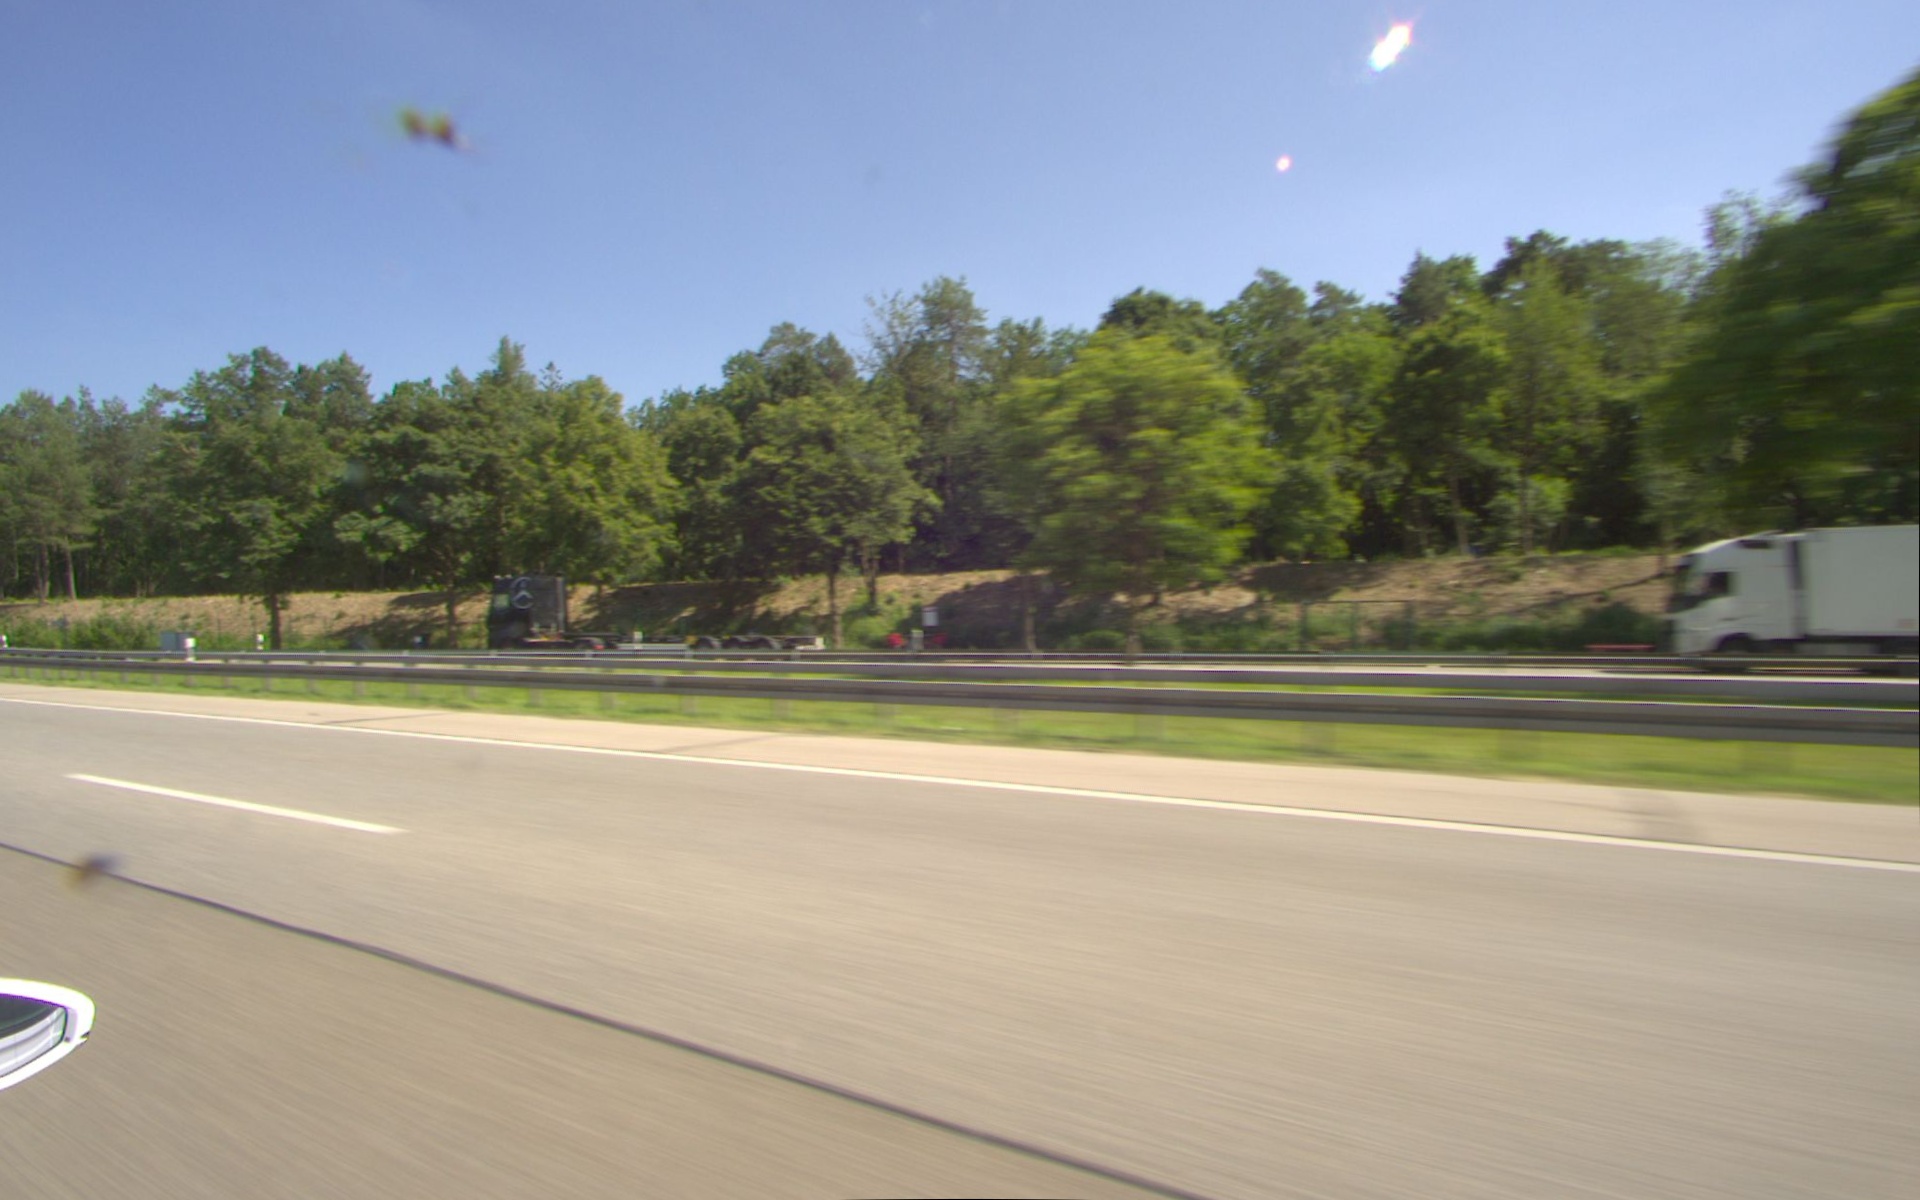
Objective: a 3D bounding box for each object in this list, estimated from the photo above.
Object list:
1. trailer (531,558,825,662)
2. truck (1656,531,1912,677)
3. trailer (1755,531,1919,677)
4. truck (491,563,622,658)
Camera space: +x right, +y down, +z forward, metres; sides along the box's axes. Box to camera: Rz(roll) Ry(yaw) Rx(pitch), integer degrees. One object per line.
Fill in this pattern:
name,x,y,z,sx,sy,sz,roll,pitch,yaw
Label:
trailer,-11.874,0.469,41.725,12.522,3.966,2.576,-1,0,19
truck,23.349,0.153,28.739,5.061,3.846,2.809,-1,0,25
trailer,29.615,0.074,25.800,13.957,3.846,2.858,-1,-1,25
truck,-17.576,0.482,43.662,4.780,3.966,2.576,0,0,19
